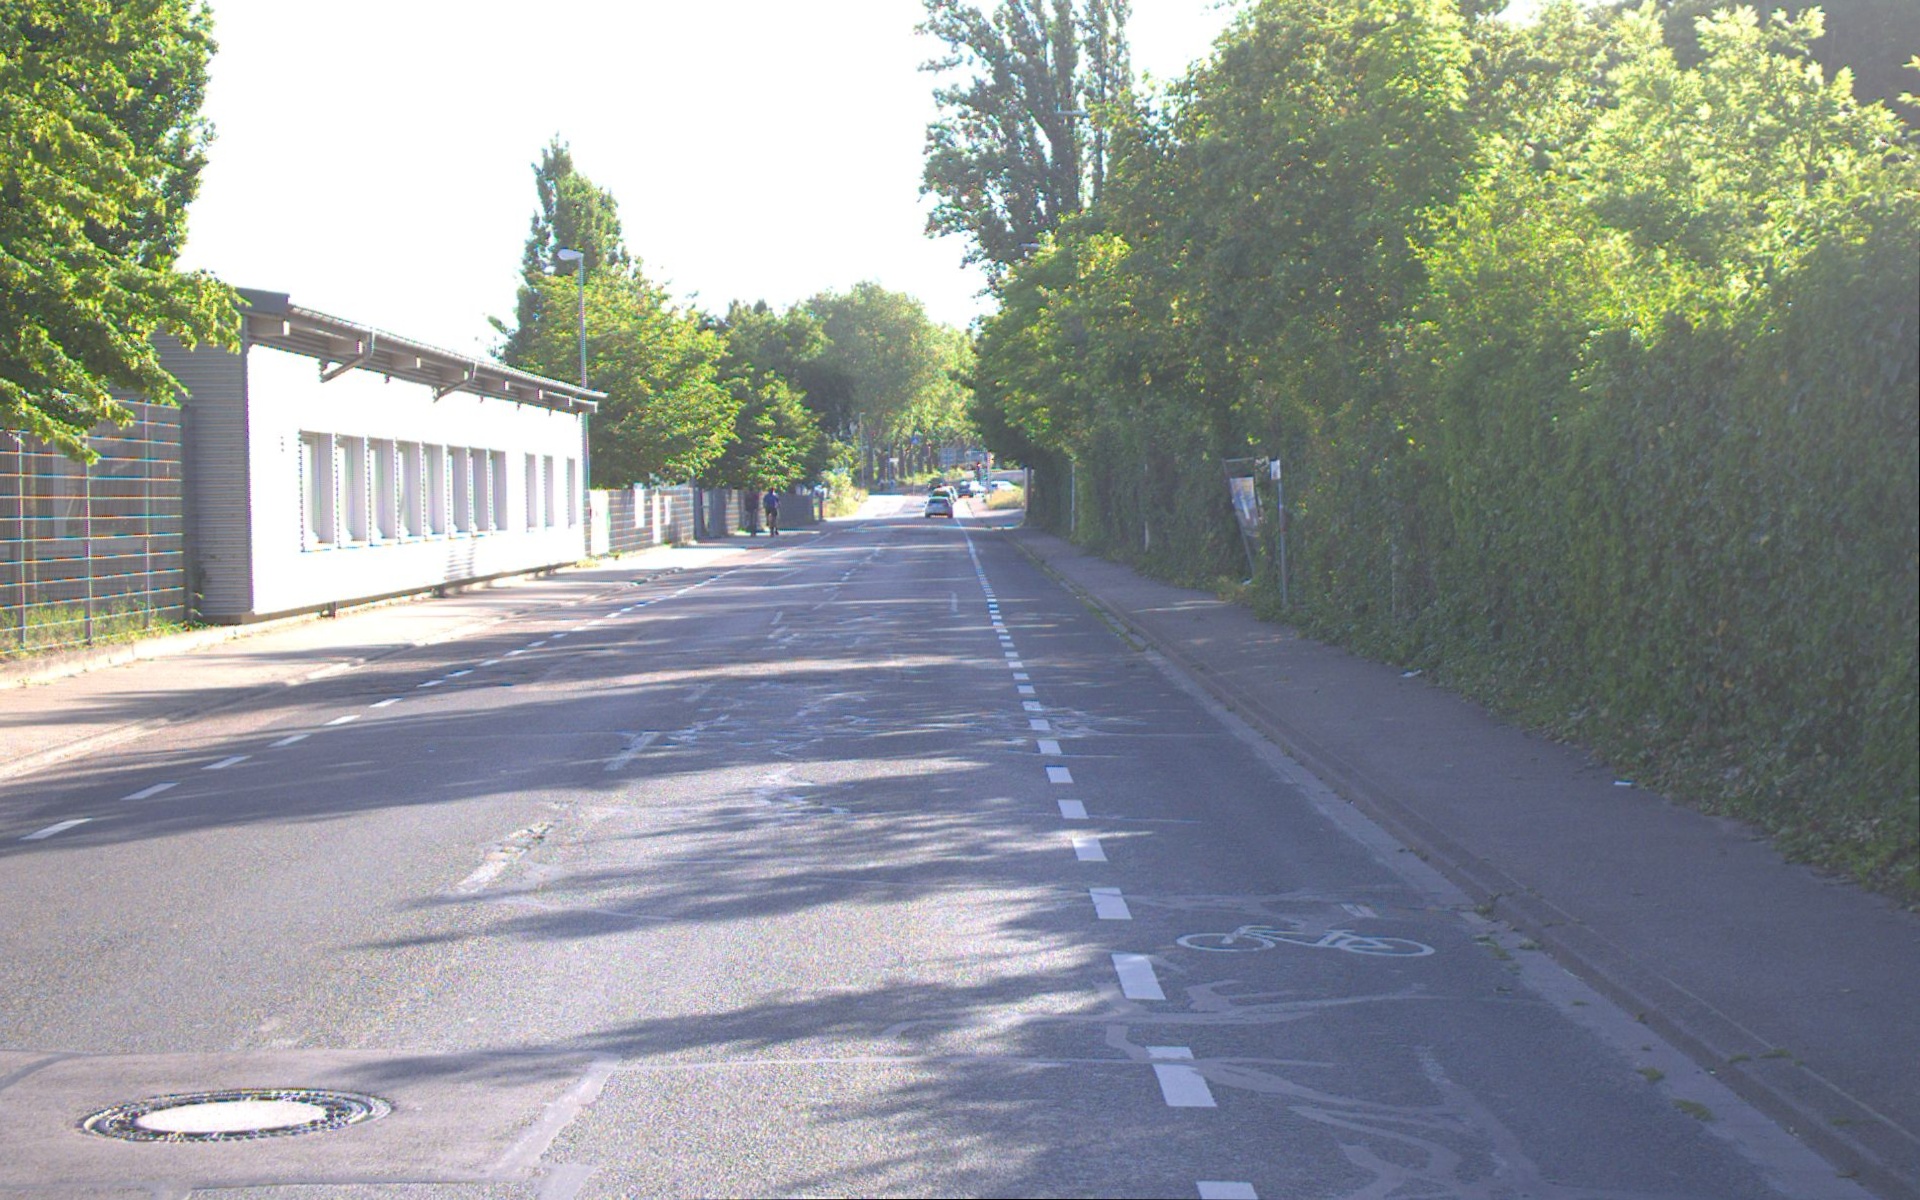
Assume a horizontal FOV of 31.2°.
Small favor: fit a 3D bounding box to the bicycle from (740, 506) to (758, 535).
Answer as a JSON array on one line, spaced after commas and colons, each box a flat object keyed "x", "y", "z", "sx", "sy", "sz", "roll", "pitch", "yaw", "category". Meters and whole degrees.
[{"x": -7.741, "y": -2.917, "z": 126.245, "sx": 0.563, "sy": 1.030, "sz": 1.351, "roll": 0, "pitch": 2, "yaw": 0, "category": "bicycle"}]

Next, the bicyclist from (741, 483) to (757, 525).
[{"x": -7.743, "y": -3.520, "z": 126.150, "sx": 0.560, "sy": 1.528, "sz": 0.689, "roll": 0, "pitch": 2, "yaw": 0, "category": "bicyclist"}]

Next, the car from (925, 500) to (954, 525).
[{"x": -1.380, "y": -5.981, "z": 233.902, "sx": 1.942, "sy": 1.645, "sz": 4.310, "roll": 0, "pitch": 2, "yaw": 0, "category": "car"}]

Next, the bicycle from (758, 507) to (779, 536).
[{"x": -6.997, "y": -2.868, "z": 125.519, "sx": 0.689, "sy": 1.030, "sz": 1.351, "roll": 0, "pitch": 2, "yaw": 0, "category": "bicycle"}]

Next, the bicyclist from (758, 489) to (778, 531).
[{"x": -6.993, "y": -3.284, "z": 125.480, "sx": 0.689, "sy": 1.526, "sz": 0.722, "roll": 0, "pitch": 2, "yaw": 0, "category": "bicyclist"}]
